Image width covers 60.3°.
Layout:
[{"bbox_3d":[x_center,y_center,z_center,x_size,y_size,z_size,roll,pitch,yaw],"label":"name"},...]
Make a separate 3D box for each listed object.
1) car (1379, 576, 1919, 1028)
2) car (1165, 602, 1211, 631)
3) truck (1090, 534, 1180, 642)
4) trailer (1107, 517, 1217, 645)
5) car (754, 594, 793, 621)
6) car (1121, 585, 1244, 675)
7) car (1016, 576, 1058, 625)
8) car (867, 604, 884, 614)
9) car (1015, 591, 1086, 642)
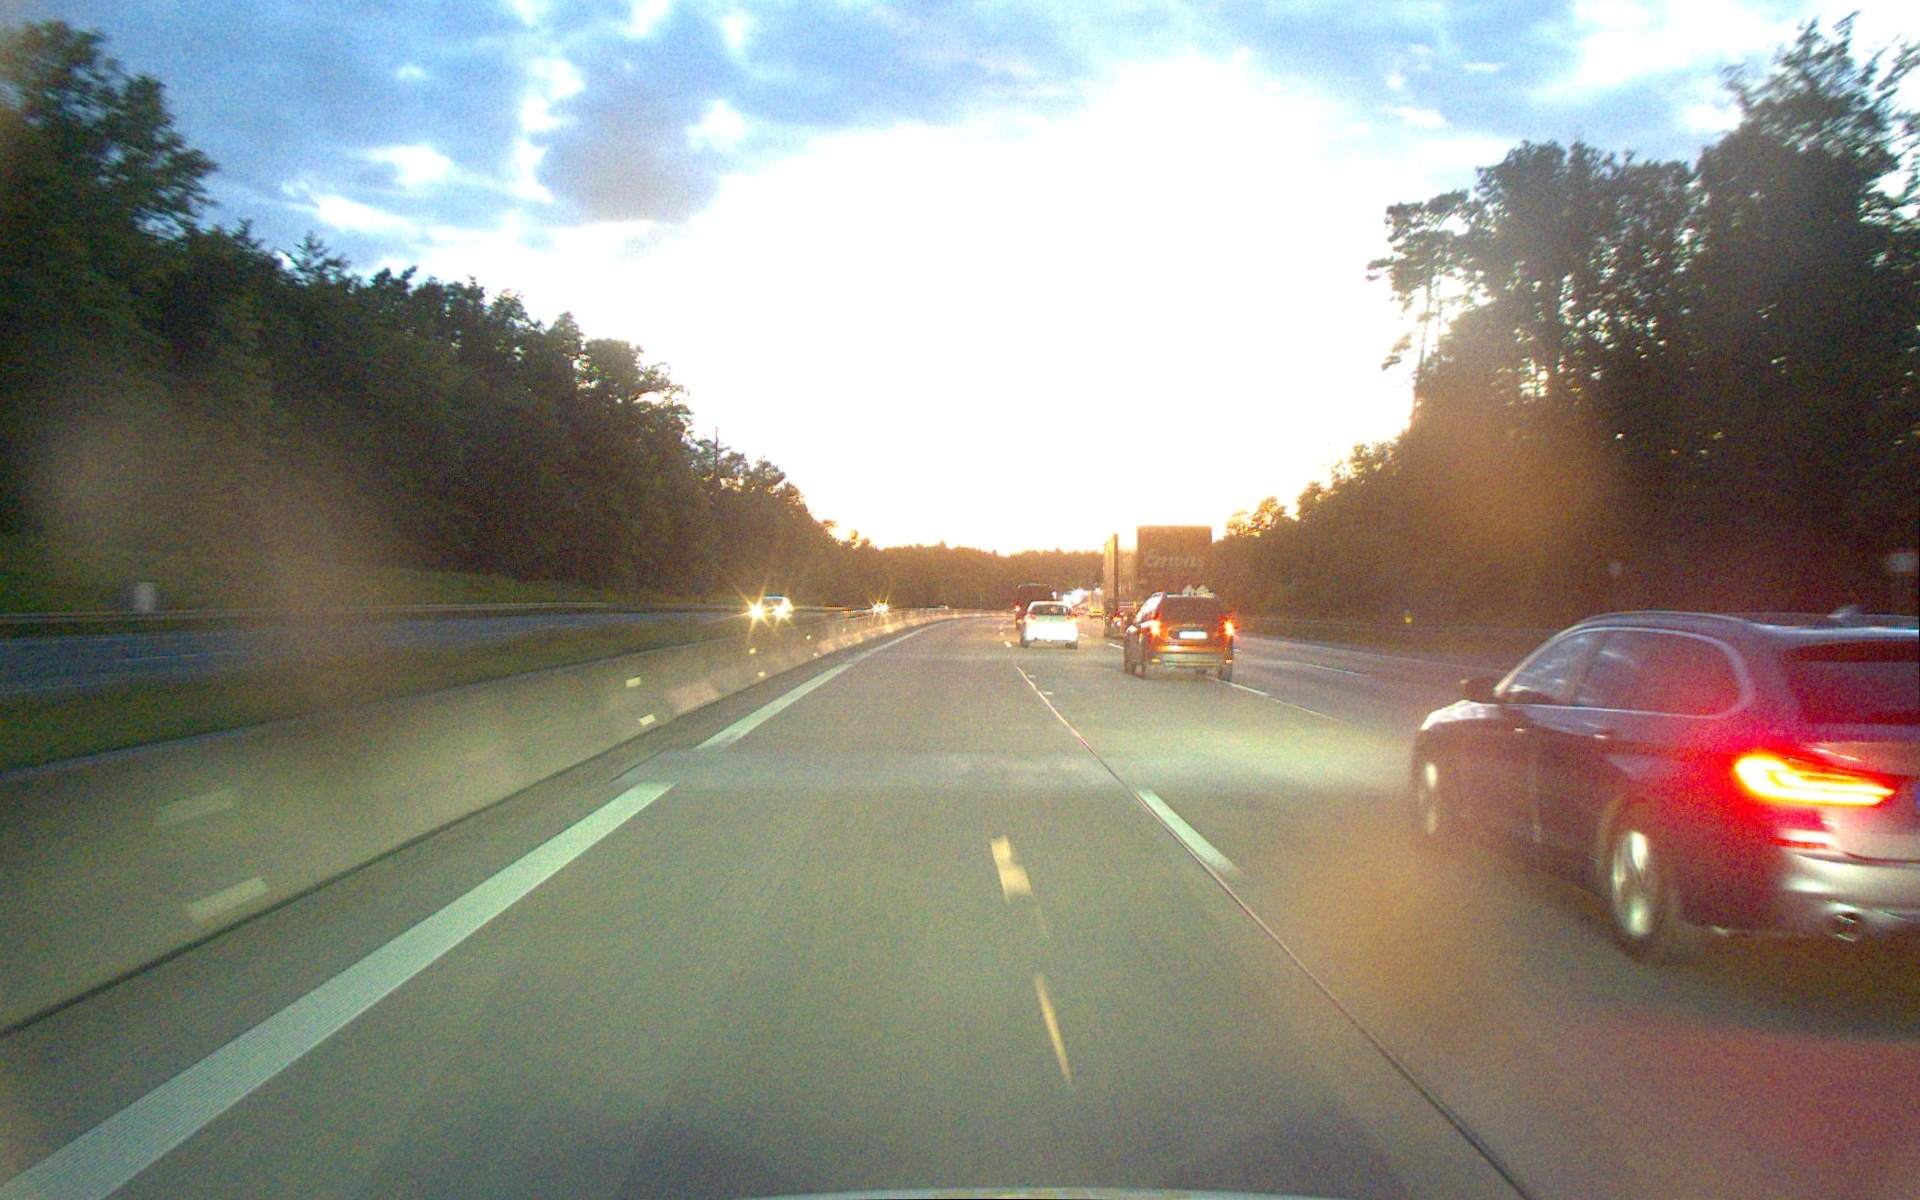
[{"bbox_3d":[3.810,0.684,8.502,1.870,1.564,5.230,0,1,-1],"label":"car"},{"bbox_3d":[11.934,0.836,86.773,1.821,1.467,4.110,0,0,-1],"label":"car"},{"bbox_3d":[7.273,-0.403,70.087,2.825,4.172,10.832,1,-1,1],"label":"truck"},{"bbox_3d":[7.088,-0.562,59.499,2.847,4.172,10.358,1,-1,1],"label":"trailer"},{"bbox_3d":[-10.118,0.417,90.067,1.585,1.430,4.315,0,0,1],"label":"car"},{"bbox_3d":[4.408,0.557,33.463,1.864,1.672,5.053,0,0,1],"label":"car"},{"bbox_3d":[4.103,0.072,87.319,2.120,2.461,5.566,0,-1,3],"label":"car"},{"bbox_3d":[-12.749,1.343,249.794,1.803,1.489,4.003,2,0,9],"label":"car"},{"bbox_3d":[2.814,0.498,52.330,1.822,1.467,3.718,0,1,-4],"label":"car"}]
